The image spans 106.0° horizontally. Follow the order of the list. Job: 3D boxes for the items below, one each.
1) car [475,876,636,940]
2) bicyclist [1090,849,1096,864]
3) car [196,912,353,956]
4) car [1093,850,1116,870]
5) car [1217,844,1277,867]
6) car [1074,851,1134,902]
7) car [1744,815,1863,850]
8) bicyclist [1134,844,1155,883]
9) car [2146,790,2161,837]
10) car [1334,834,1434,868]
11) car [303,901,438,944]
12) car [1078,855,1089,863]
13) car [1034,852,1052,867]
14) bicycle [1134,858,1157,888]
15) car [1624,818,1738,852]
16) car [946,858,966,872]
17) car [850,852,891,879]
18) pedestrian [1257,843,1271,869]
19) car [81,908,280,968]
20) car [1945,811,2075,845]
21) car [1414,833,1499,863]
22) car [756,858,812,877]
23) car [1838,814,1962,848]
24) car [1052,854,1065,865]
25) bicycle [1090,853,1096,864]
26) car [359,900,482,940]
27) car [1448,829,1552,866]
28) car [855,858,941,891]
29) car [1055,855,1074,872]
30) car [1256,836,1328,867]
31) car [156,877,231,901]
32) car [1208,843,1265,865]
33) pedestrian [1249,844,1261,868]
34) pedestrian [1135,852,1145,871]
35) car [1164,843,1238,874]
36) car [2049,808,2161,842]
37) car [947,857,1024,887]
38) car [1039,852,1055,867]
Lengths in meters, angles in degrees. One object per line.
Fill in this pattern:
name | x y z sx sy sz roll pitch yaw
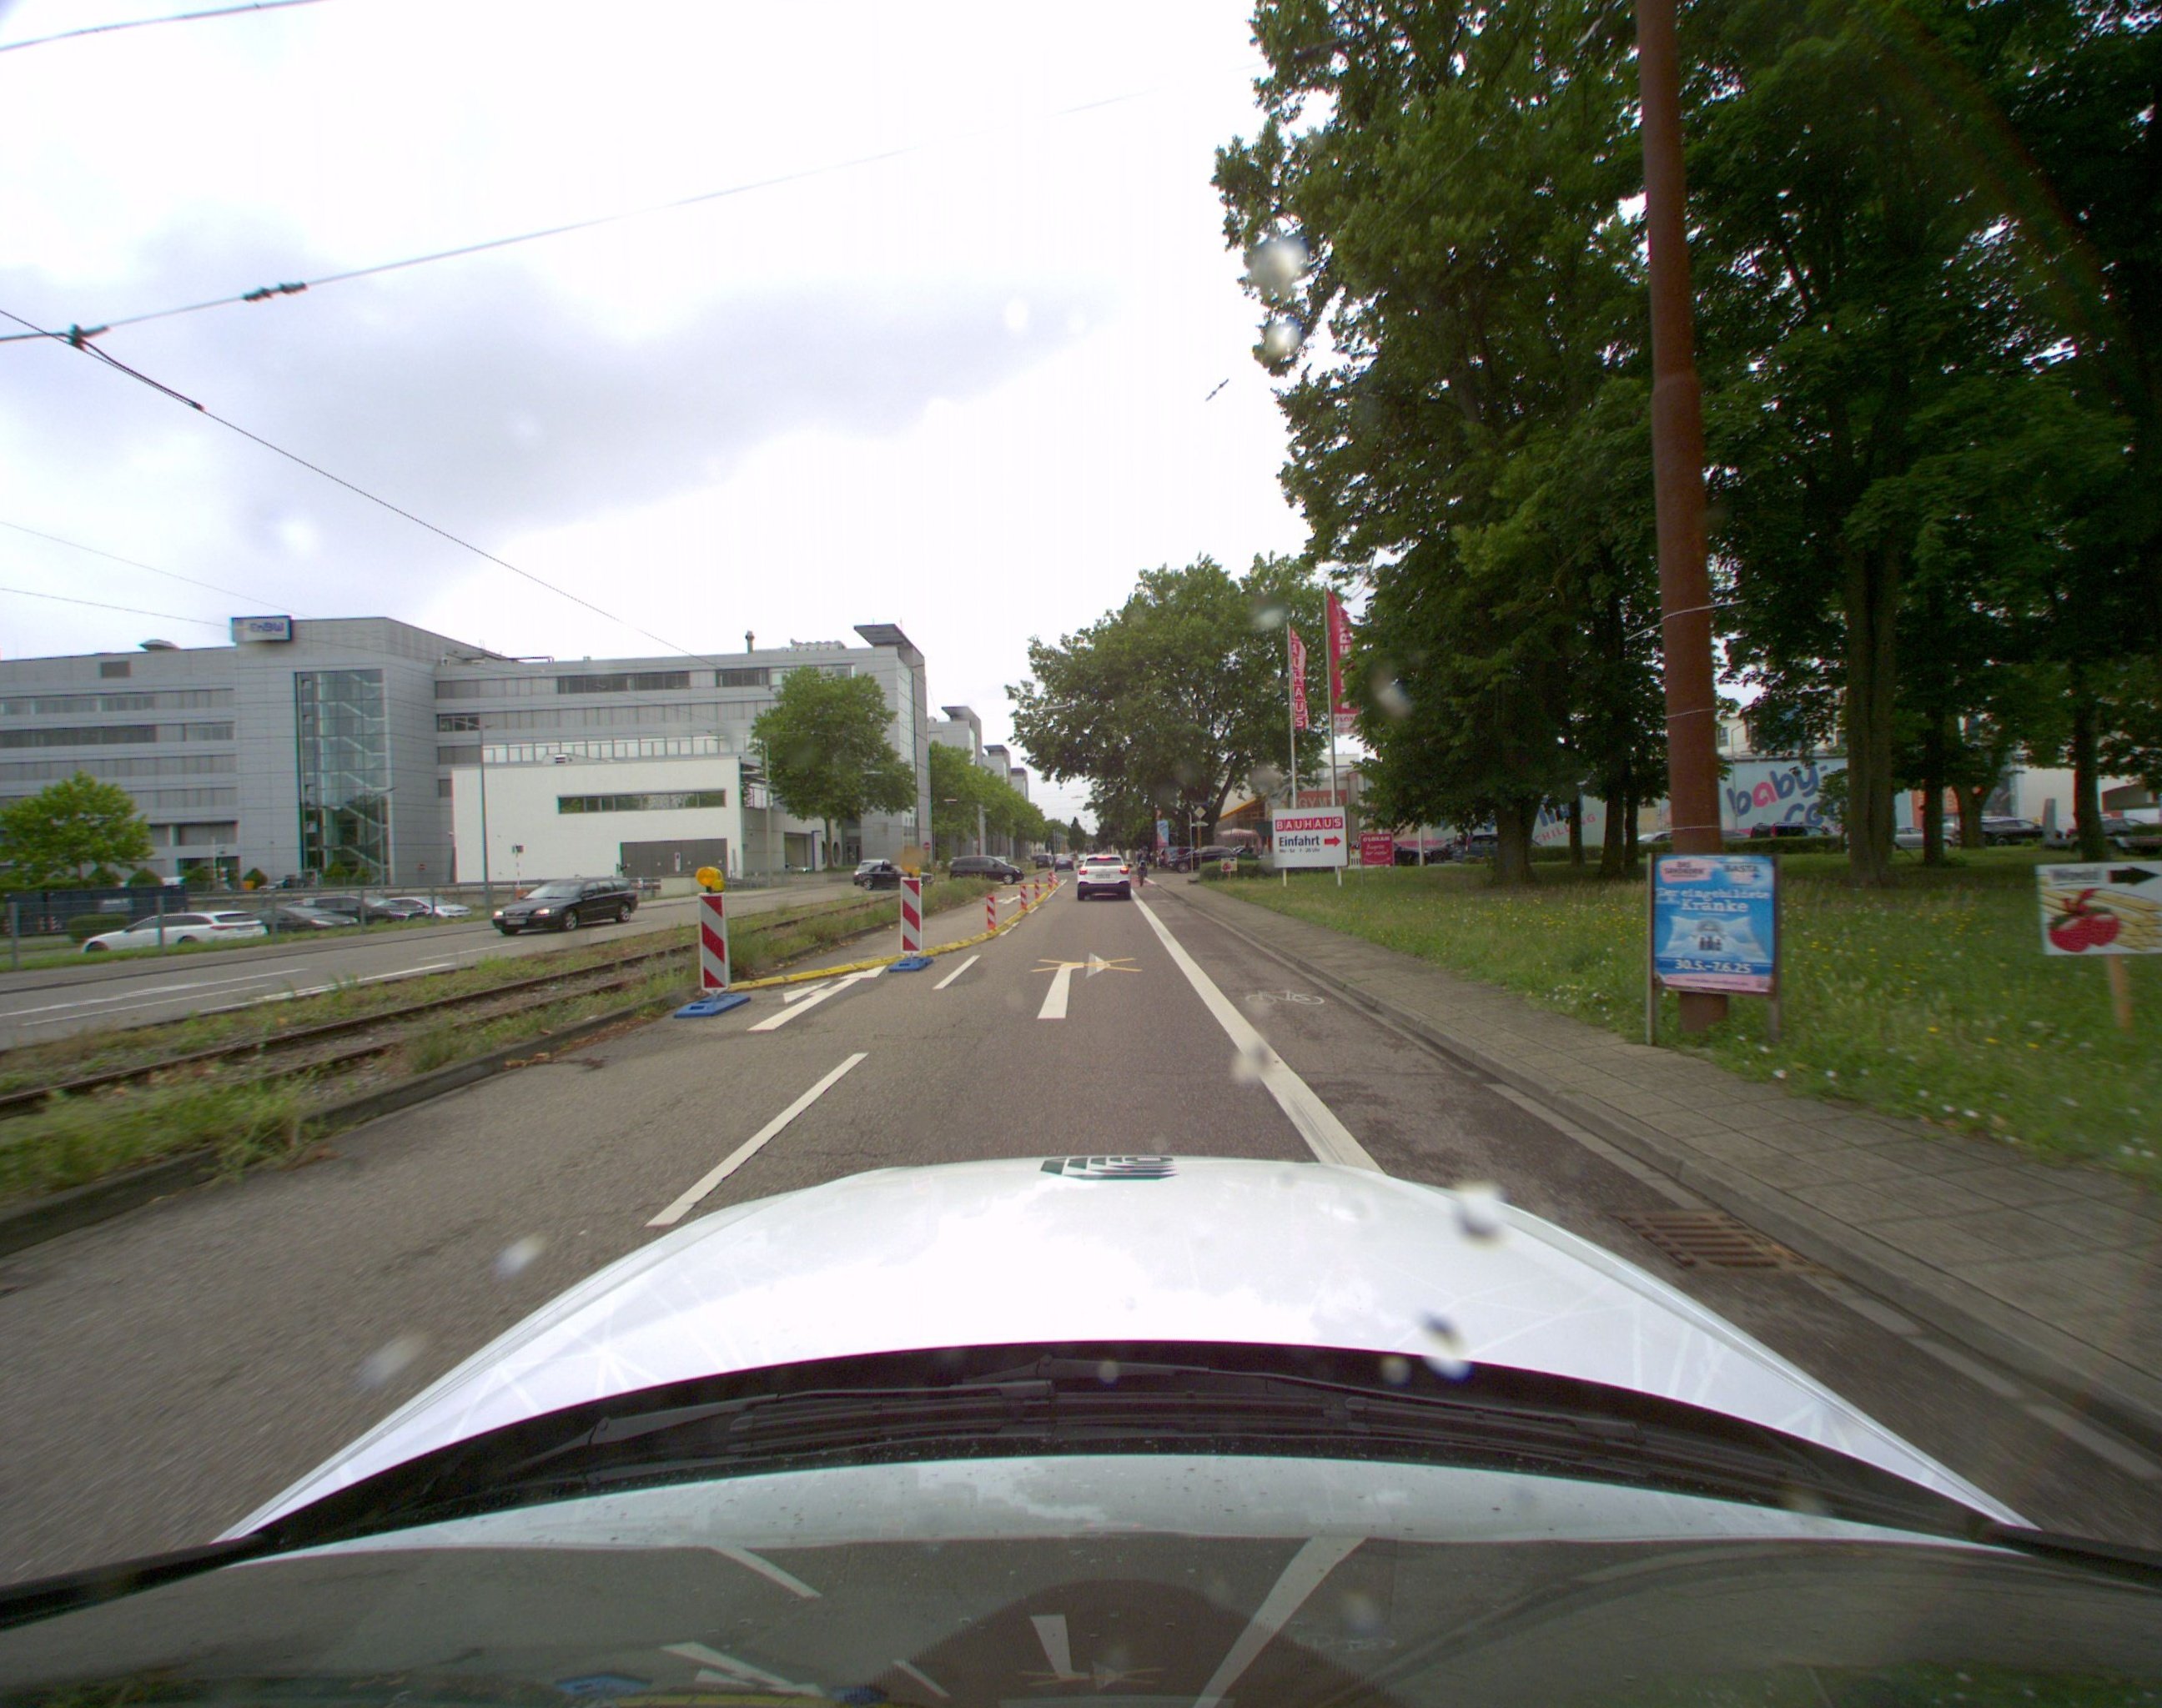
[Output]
car | -14.917 1.463 23.470 1.815 1.472 4.423 -3 0 -2
bicyclist | 1.439 0.337 101.043 0.669 1.815 0.759 -1 0 -2
car | -30.907 3.051 31.295 3.976 1.314 1.912 -3 0 -2
car | 2.118 0.515 74.666 1.871 1.632 3.999 -3 0 0
car | 12.839 0.087 63.182 4.201 1.551 1.789 -3 0 -2
car | 0.718 0.703 28.048 1.819 1.600 3.773 -1 0 -2
car | 38.911 -1.140 43.969 4.537 1.572 2.074 -3 0 1
bicyclist | 2.790 0.414 35.978 0.813 1.630 1.235 -3 0 1
car | 61.825 -2.338 43.980 5.723 2.537 2.074 -3 0 1
car | 16.119 -0.146 43.486 4.537 1.572 1.993 -3 0 1
car | -30.439 2.930 34.998 3.976 1.485 1.912 -3 0 -2
car | 0.422 0.906 150.975 1.790 1.513 3.703 -1 0 -2
car | -4.546 0.640 98.650 1.871 1.632 3.999 -3 0 0
bicycle | 2.812 0.804 35.979 0.813 1.212 2.684 -3 0 1
car | 32.353 -0.980 44.011 4.537 1.572 2.074 -3 0 1
car | -15.802 1.340 103.104 1.871 1.632 4.205 -3 0 0
car | -14.629 0.779 56.782 1.815 1.783 4.423 -3 0 -2
pedestrian | 12.355 0.105 54.973 0.677 1.704 0.598 -3 0 -1
car | -30.797 2.832 27.952 4.514 1.634 1.912 -3 0 -2
car | 49.787 -1.368 43.708 4.537 1.572 2.074 -3 0 1
car | 24.166 -0.367 52.534 4.532 1.677 2.084 -2 0 4
car | -27.775 1.245 76.198 4.500 1.670 1.824 -1 -1 -2
car | 43.970 -1.212 43.808 4.537 1.572 2.074 -3 0 1
car | -3.690 0.861 132.867 1.871 1.763 3.999 -3 0 0
bicycle | 1.445 0.525 100.963 0.669 1.394 2.165 -1 0 -2
car | -30.524 3.026 37.730 3.976 1.485 1.912 -3 0 -2
car | 22.537 -0.372 43.964 4.537 1.790 2.074 -2 1 1
car | -9.711 1.071 43.324 4.080 1.475 1.835 -4 -2 23
car | -1.514 0.867 75.518 1.679 1.513 3.703 -1 0 -2
car | 13.280 -0.152 51.499 4.188 1.677 1.997 -3 0 8
car | -85.488 3.369 78.542 1.986 2.013 4.653 -3 0 2
car | 12.457 0.003 65.332 4.201 1.551 1.789 -3 0 -2
pedestrian | 12.342 0.139 57.793 0.677 1.704 0.598 -3 0 -1
pedestrian | 5.247 0.662 72.806 0.759 1.704 0.680 -3 0 -4
car | 7.463 0.274 50.836 4.298 1.677 1.993 -3 0 1
car | 55.705 -1.560 43.868 4.537 1.572 2.074 -3 0 1
car | -5.115 0.969 43.922 3.870 1.556 1.825 -1 -1 0
car | -4.354 0.686 104.466 1.871 1.763 3.999 -3 0 0
